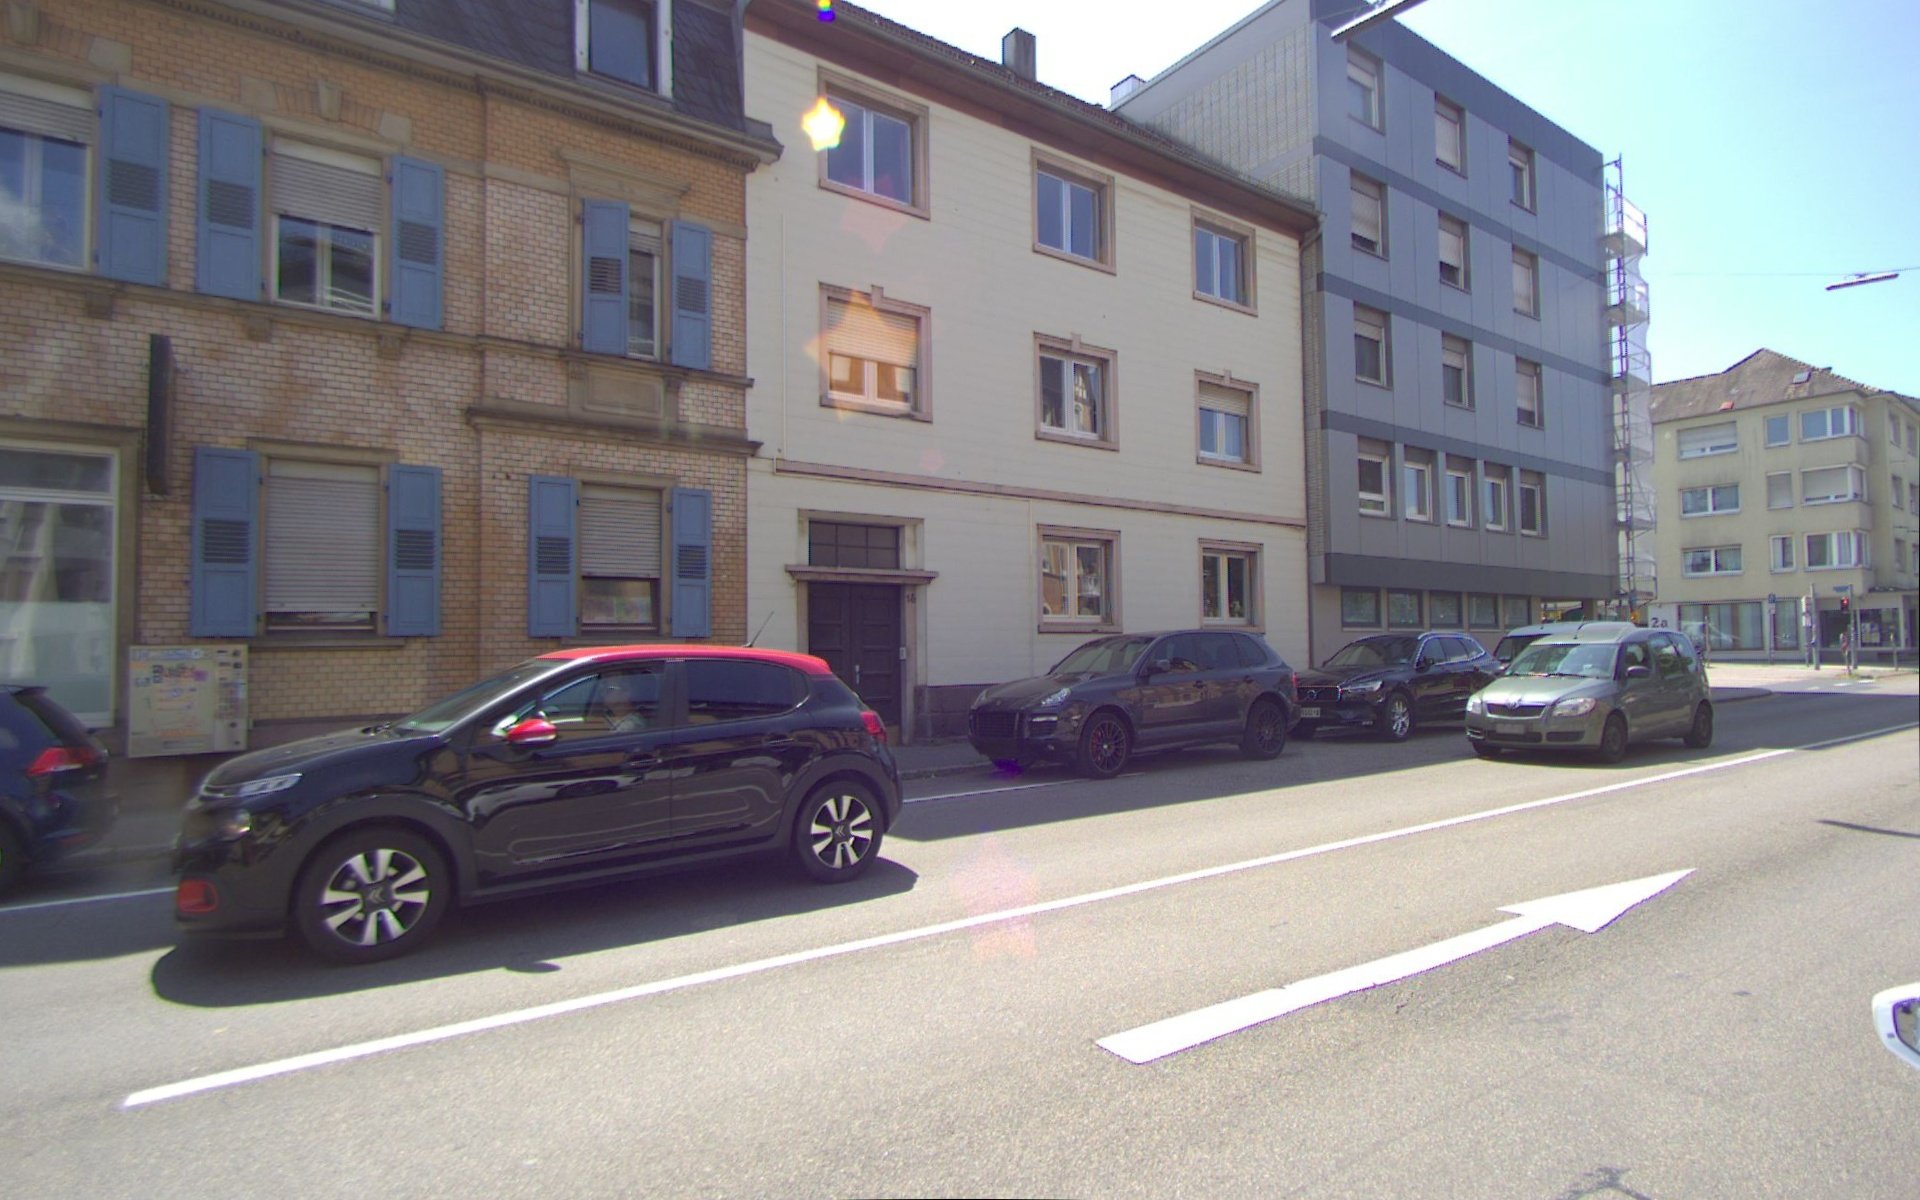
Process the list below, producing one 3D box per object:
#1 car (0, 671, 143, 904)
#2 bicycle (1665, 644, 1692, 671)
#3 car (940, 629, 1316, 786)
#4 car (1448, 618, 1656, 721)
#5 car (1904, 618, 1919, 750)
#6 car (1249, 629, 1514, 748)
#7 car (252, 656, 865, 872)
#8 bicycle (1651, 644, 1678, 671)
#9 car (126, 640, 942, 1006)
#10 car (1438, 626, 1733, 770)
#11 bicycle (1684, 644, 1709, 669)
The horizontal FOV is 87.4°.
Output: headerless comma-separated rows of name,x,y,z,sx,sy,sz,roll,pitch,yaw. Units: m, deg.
car,-7.703,1.220,6.007,4.294,1.424,1.852,2,-7,-39
bicycle,27.686,2.207,38.690,1.732,0.980,0.394,2,-3,-40
car,2.247,1.254,12.799,4.769,1.662,1.873,2,-5,-35
car,12.034,1.382,20.317,4.744,1.849,1.901,2,-5,-37
car,14.073,1.067,13.116,3.959,1.653,1.743,1,-2,-35
car,6.922,1.368,16.310,4.620,1.662,1.872,2,-5,-37
car,-3.389,1.294,9.047,4.795,1.424,1.852,2,-7,-38
bicycle,26.279,2.128,37.469,1.704,0.980,0.394,2,-3,-40
car,-2.272,1.023,6.078,4.092,1.497,1.691,1,-4,-35
car,8.227,1.179,13.093,4.269,1.595,1.691,1,-4,-35
bicycle,29.327,2.233,39.998,1.769,0.980,0.394,2,-3,-40
